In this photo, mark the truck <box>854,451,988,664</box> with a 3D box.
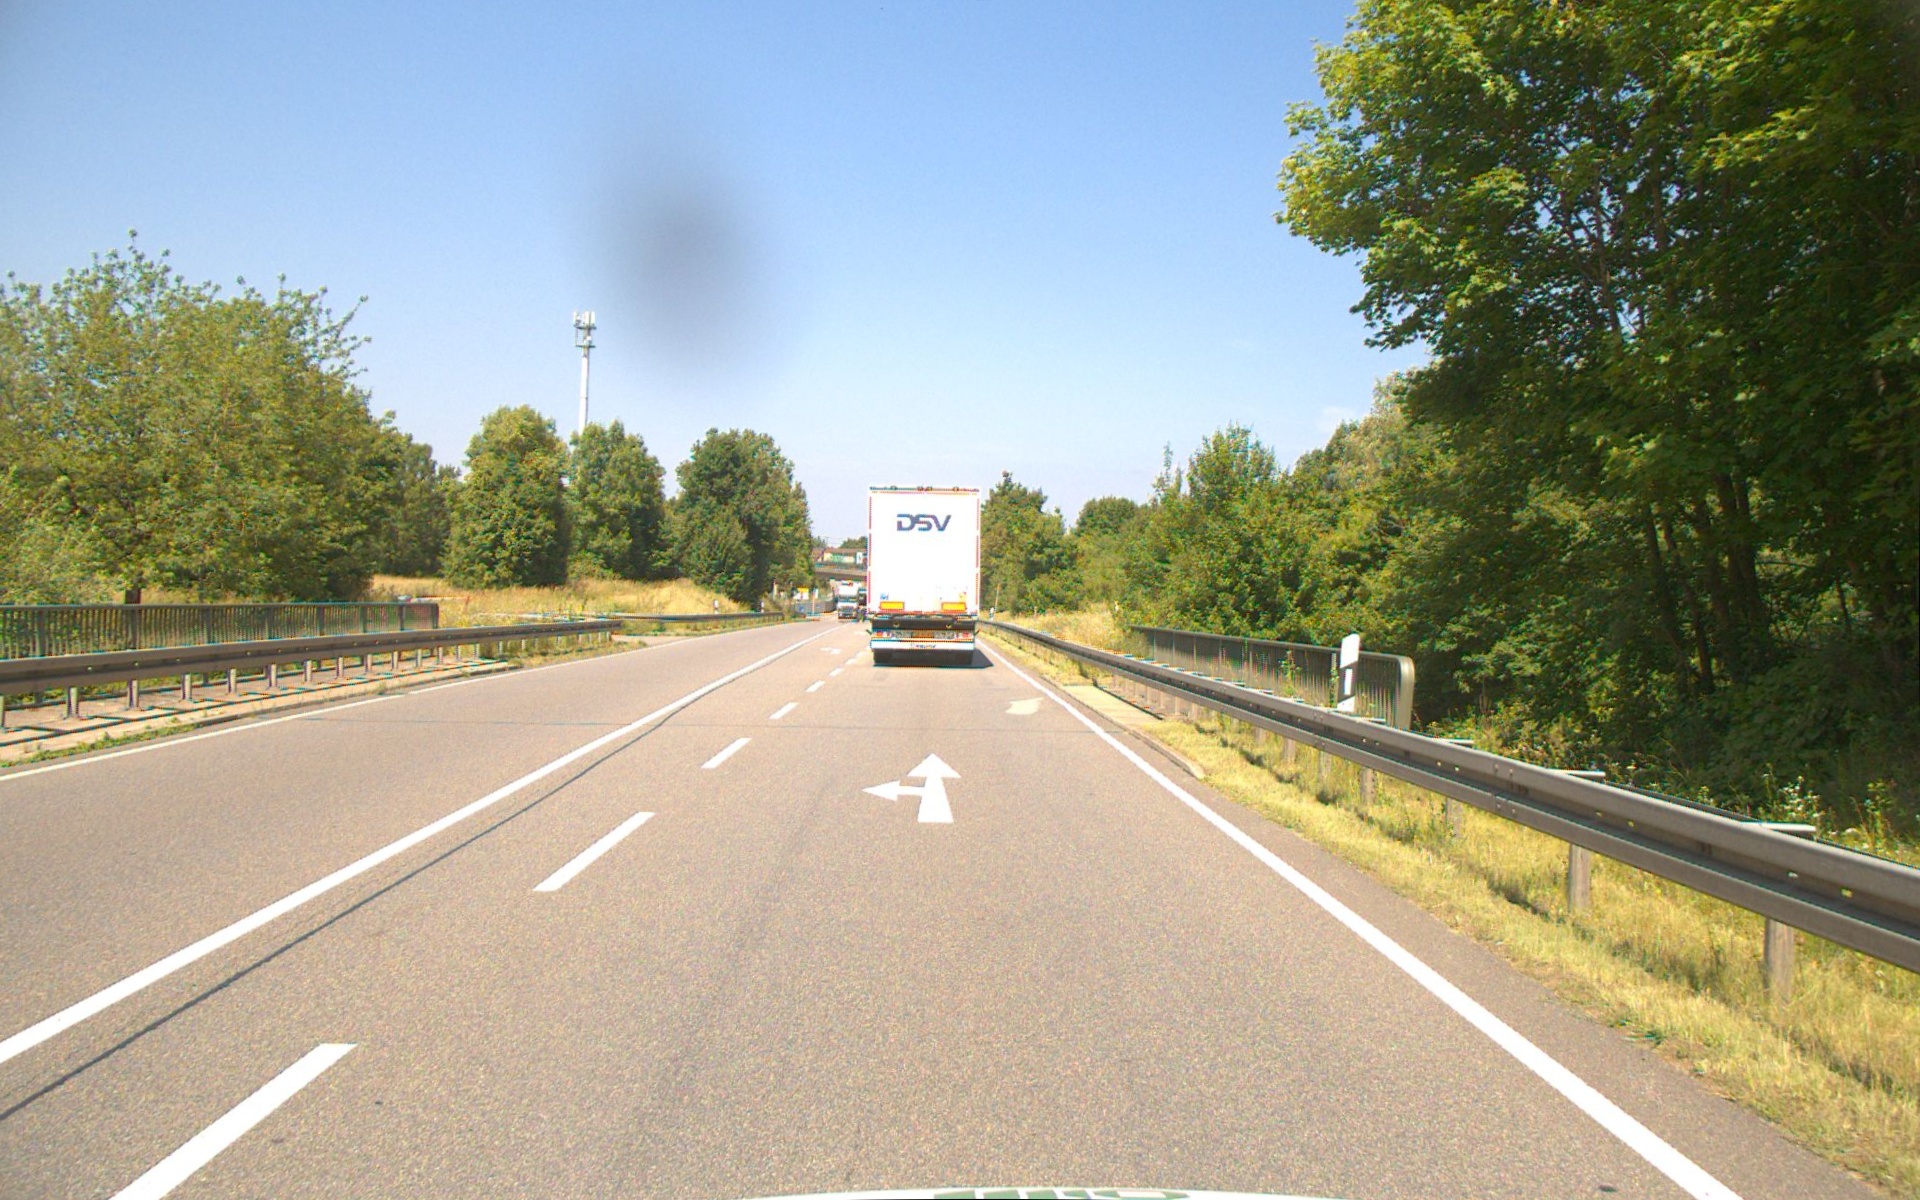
[{"bbox_3d":[-0.955,-0.877,41.409,2.890,4.649,9.859,1,-1,-1],"label":"truck"}]
